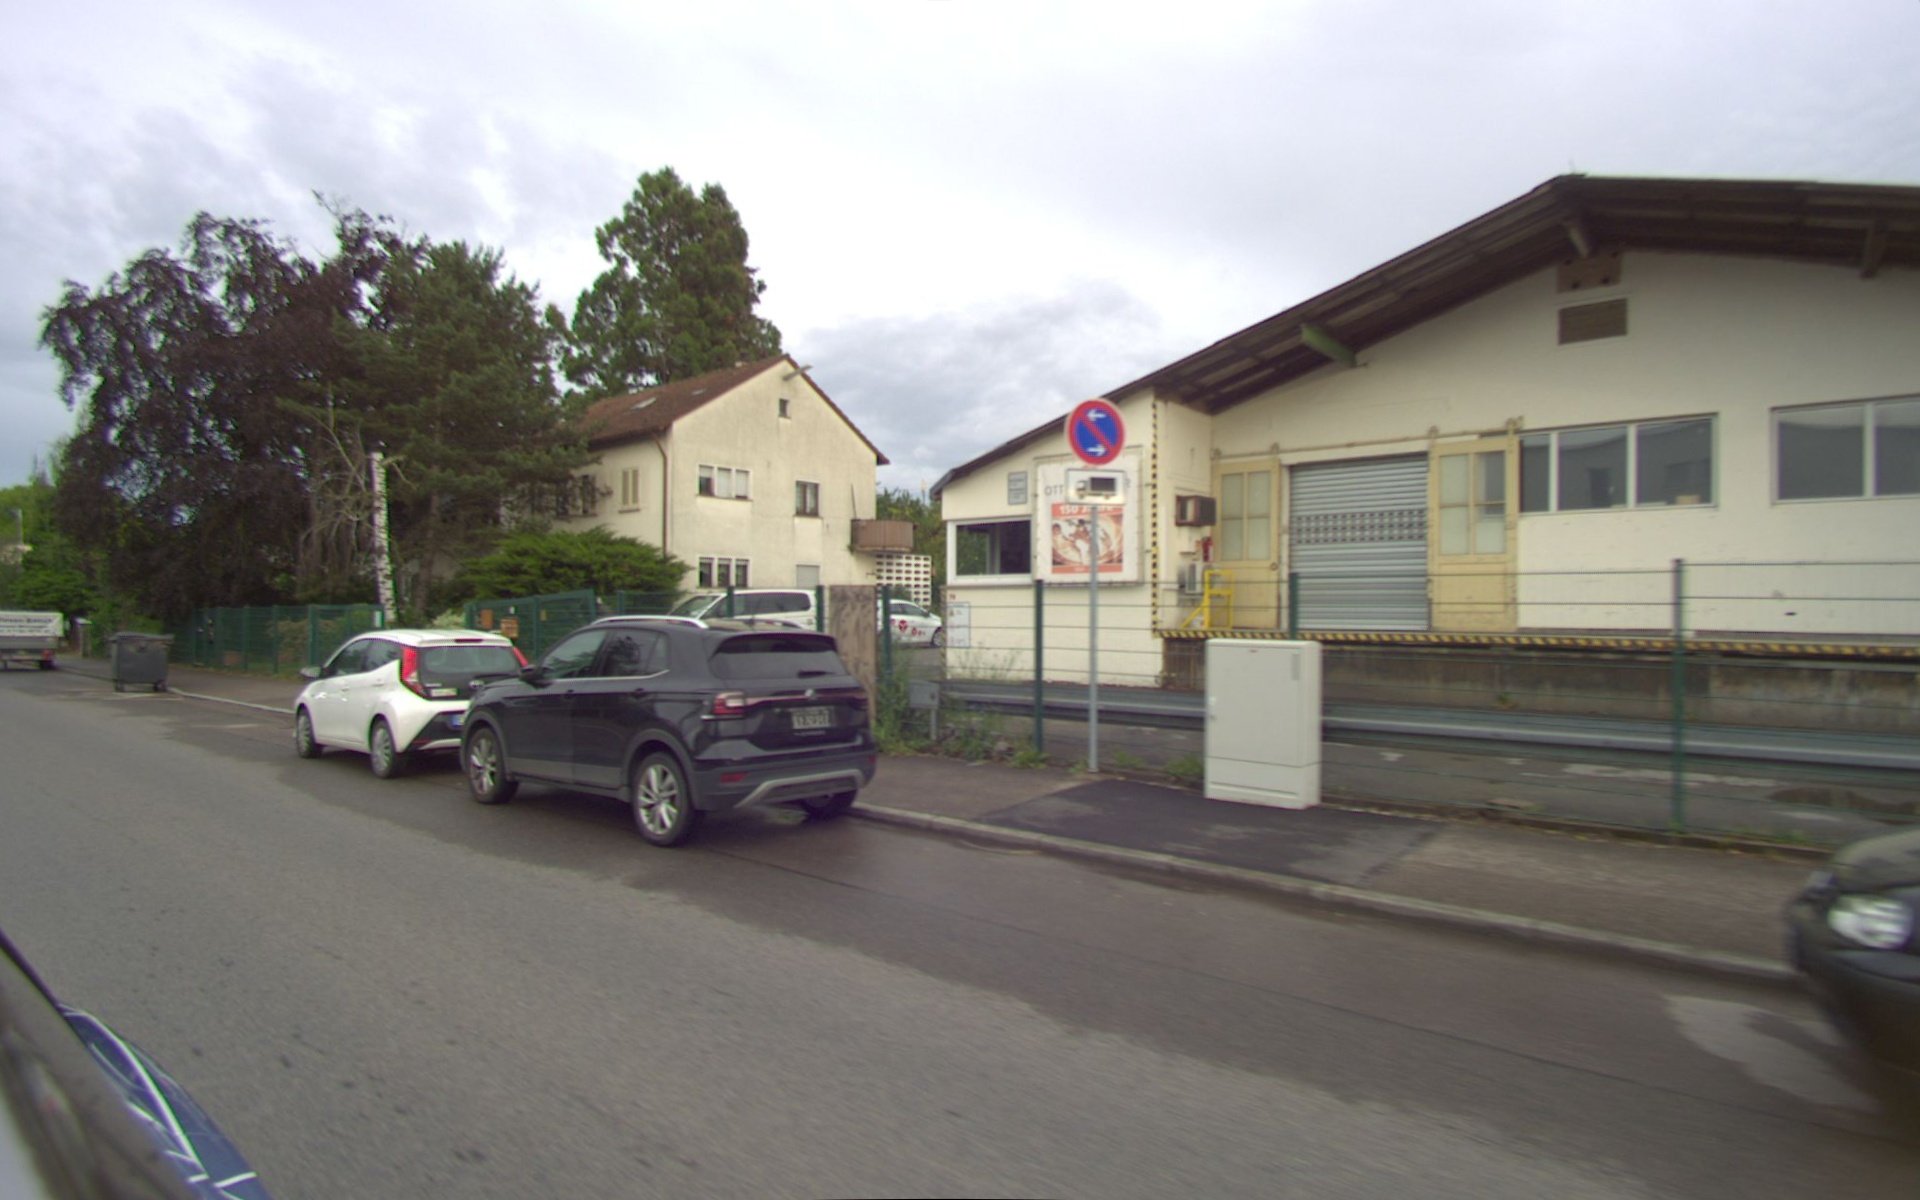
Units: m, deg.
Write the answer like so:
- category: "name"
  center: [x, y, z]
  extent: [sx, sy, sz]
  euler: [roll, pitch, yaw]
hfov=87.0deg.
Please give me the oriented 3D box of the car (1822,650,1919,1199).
- category: "car"
  center: [4.628, 0.874, 2.035]
  extent: [4.312, 1.459, 1.645]
  euler: [-1, -3, 39]

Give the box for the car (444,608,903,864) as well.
- category: "car"
  center: [-2.457, 0.907, 8.221]
  extent: [3.913, 1.596, 1.644]
  euler: [-1, -3, 40]

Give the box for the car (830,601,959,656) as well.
- category: "car"
  center: [-2.031, 0.842, 32.041]
  extent: [1.785, 1.563, 3.944]
  euler: [-1, 0, 42]

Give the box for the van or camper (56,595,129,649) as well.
- category: "van or camper"
  center: [-52.320, 1.294, 60.972]
  extent: [6.145, 3.058, 2.280]
  euler: [-1, 0, 40]

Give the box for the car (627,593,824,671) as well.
- category: "car"
  center: [-6.235, 0.793, 27.416]
  extent: [2.000, 1.871, 4.945]
  euler: [-1, 0, 42]

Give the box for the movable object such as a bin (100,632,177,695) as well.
- category: "movable object such as a bin"
  center: [-18.431, 1.398, 22.710]
  extent: [1.424, 1.320, 1.090]
  euler: [-1, 0, 40]

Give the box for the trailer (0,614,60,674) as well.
- category: "trailer"
  center: [-30.360, 1.369, 32.267]
  extent: [4.545, 1.779, 1.910]
  euler: [-1, -1, 41]

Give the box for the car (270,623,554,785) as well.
- category: "car"
  center: [-6.244, 1.031, 11.384]
  extent: [3.658, 1.520, 1.599]
  euler: [-1, -2, 41]
